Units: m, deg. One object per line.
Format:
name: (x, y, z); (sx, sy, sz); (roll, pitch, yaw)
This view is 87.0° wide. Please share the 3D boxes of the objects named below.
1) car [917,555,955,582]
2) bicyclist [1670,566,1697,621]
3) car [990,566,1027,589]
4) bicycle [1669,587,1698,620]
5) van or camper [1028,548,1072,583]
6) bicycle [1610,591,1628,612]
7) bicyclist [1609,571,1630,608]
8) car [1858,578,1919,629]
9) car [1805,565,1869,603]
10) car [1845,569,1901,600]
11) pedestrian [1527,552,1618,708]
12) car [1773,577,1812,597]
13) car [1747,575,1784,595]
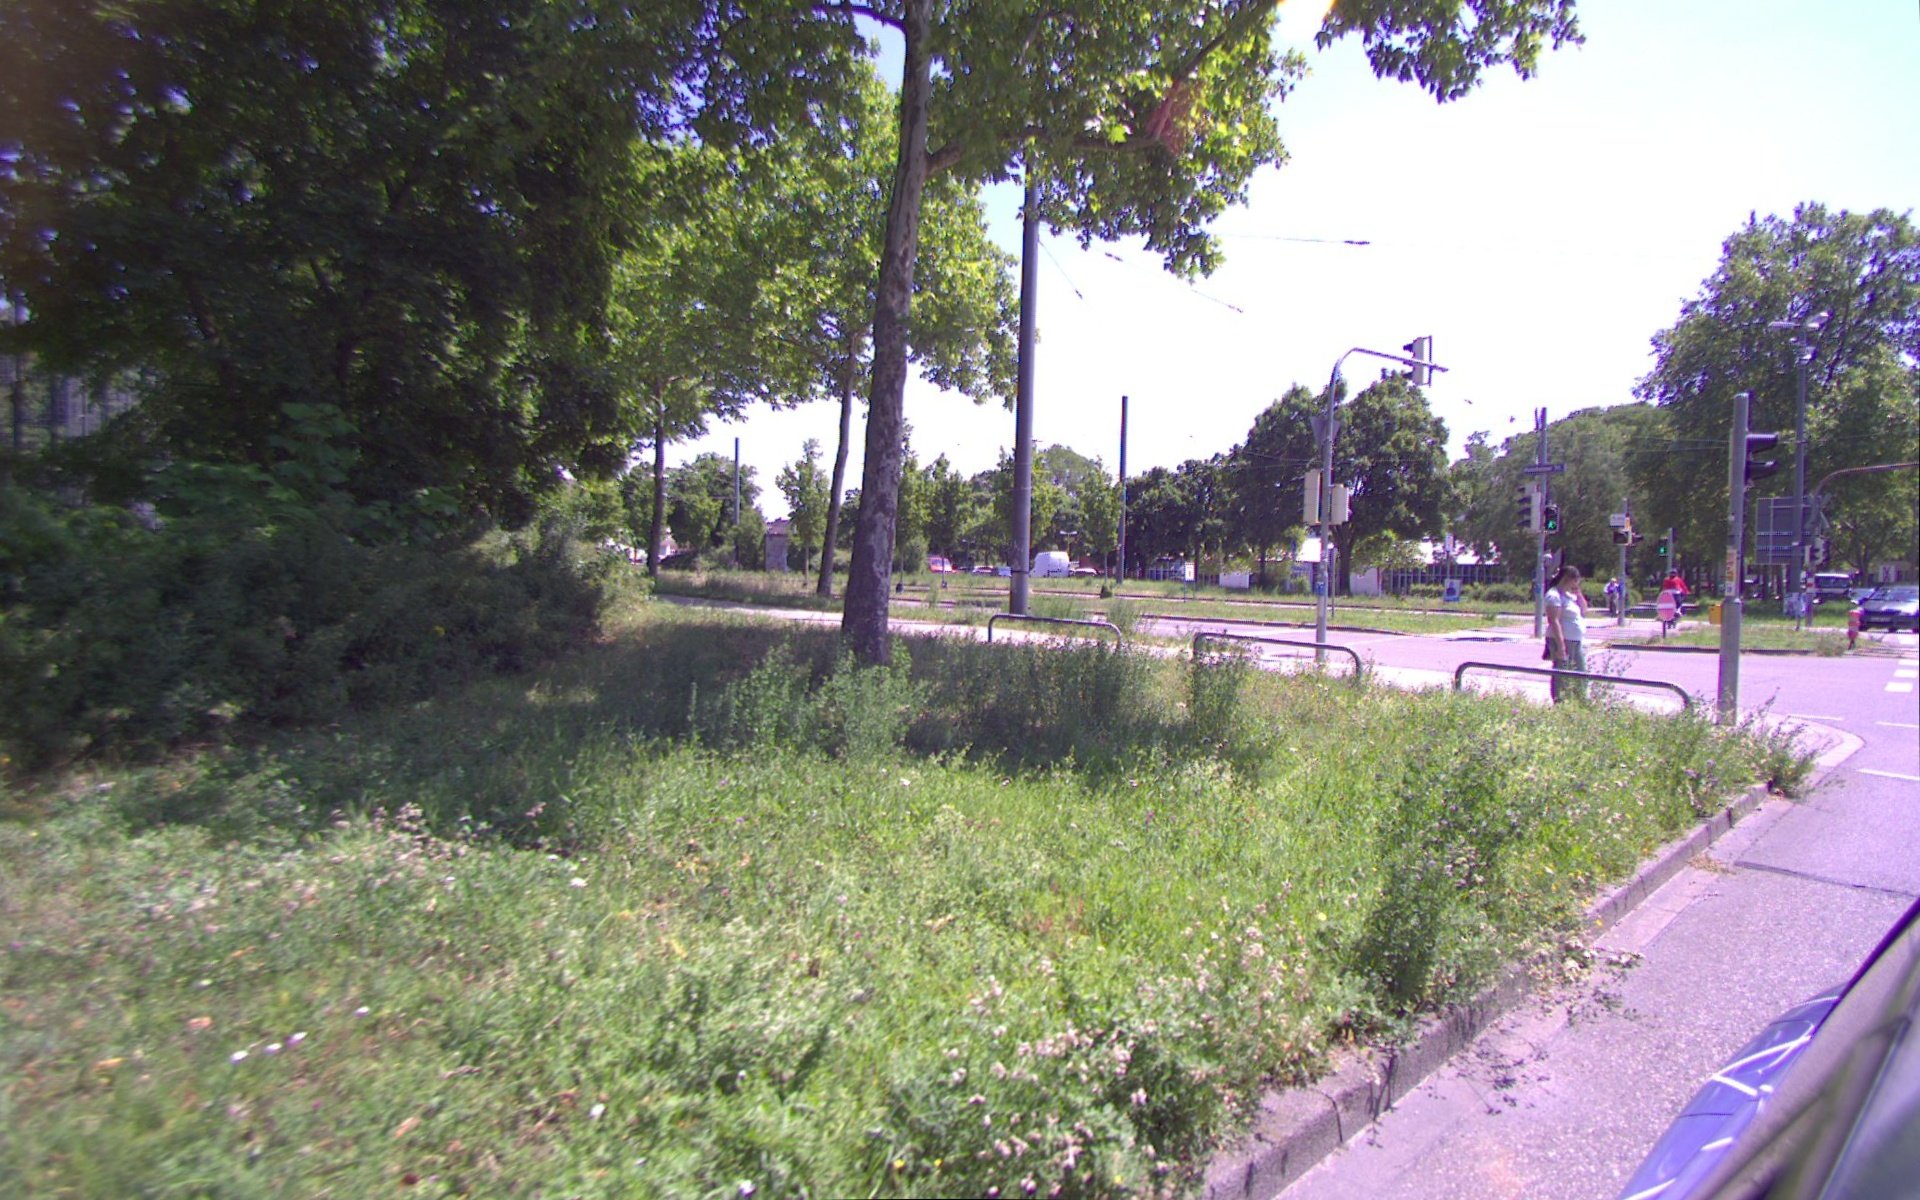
car: (-1.951, -2.550, 81.406); (2.031, 2.028, 4.674); (1, 2, -14)
bicyclist: (21.035, -0.200, 29.429); (0.575, 1.575, 0.665); (2, 2, 34)
car: (3.821, -1.840, 80.936); (1.915, 1.739, 4.080); (1, 2, -13)
bicycle: (21.008, 0.084, 29.404); (0.585, 0.906, 1.789); (3, 2, 34)
van or camper: (7.414, -2.888, 83.736); (2.157, 2.785, 5.141); (1, 2, -12)
bicycle: (25.070, 0.047, 38.517); (0.461, 0.773, 1.650); (2, 2, 31)
bicyclist: (25.083, -0.412, 38.494); (0.596, 1.355, 0.659); (2, 2, 32)
car: (29.873, 0.099, 31.528); (3.787, 1.480, 1.657); (0, 2, -29)
car: (65.071, -1.260, 75.233); (2.902, 2.687, 6.286); (2, 2, 35)
car: (56.163, -0.973, 62.305); (1.987, 1.816, 3.951); (2, 2, 35)
pedestrian: (6.136, 0.280, 10.135); (0.618, 1.502, 0.554); (0, 1, -36)
car: (72.802, -1.137, 88.566); (1.984, 1.638, 3.958); (2, 2, 30)
car: (77.130, -1.479, 97.011); (1.981, 1.860, 3.962); (2, 2, 27)
